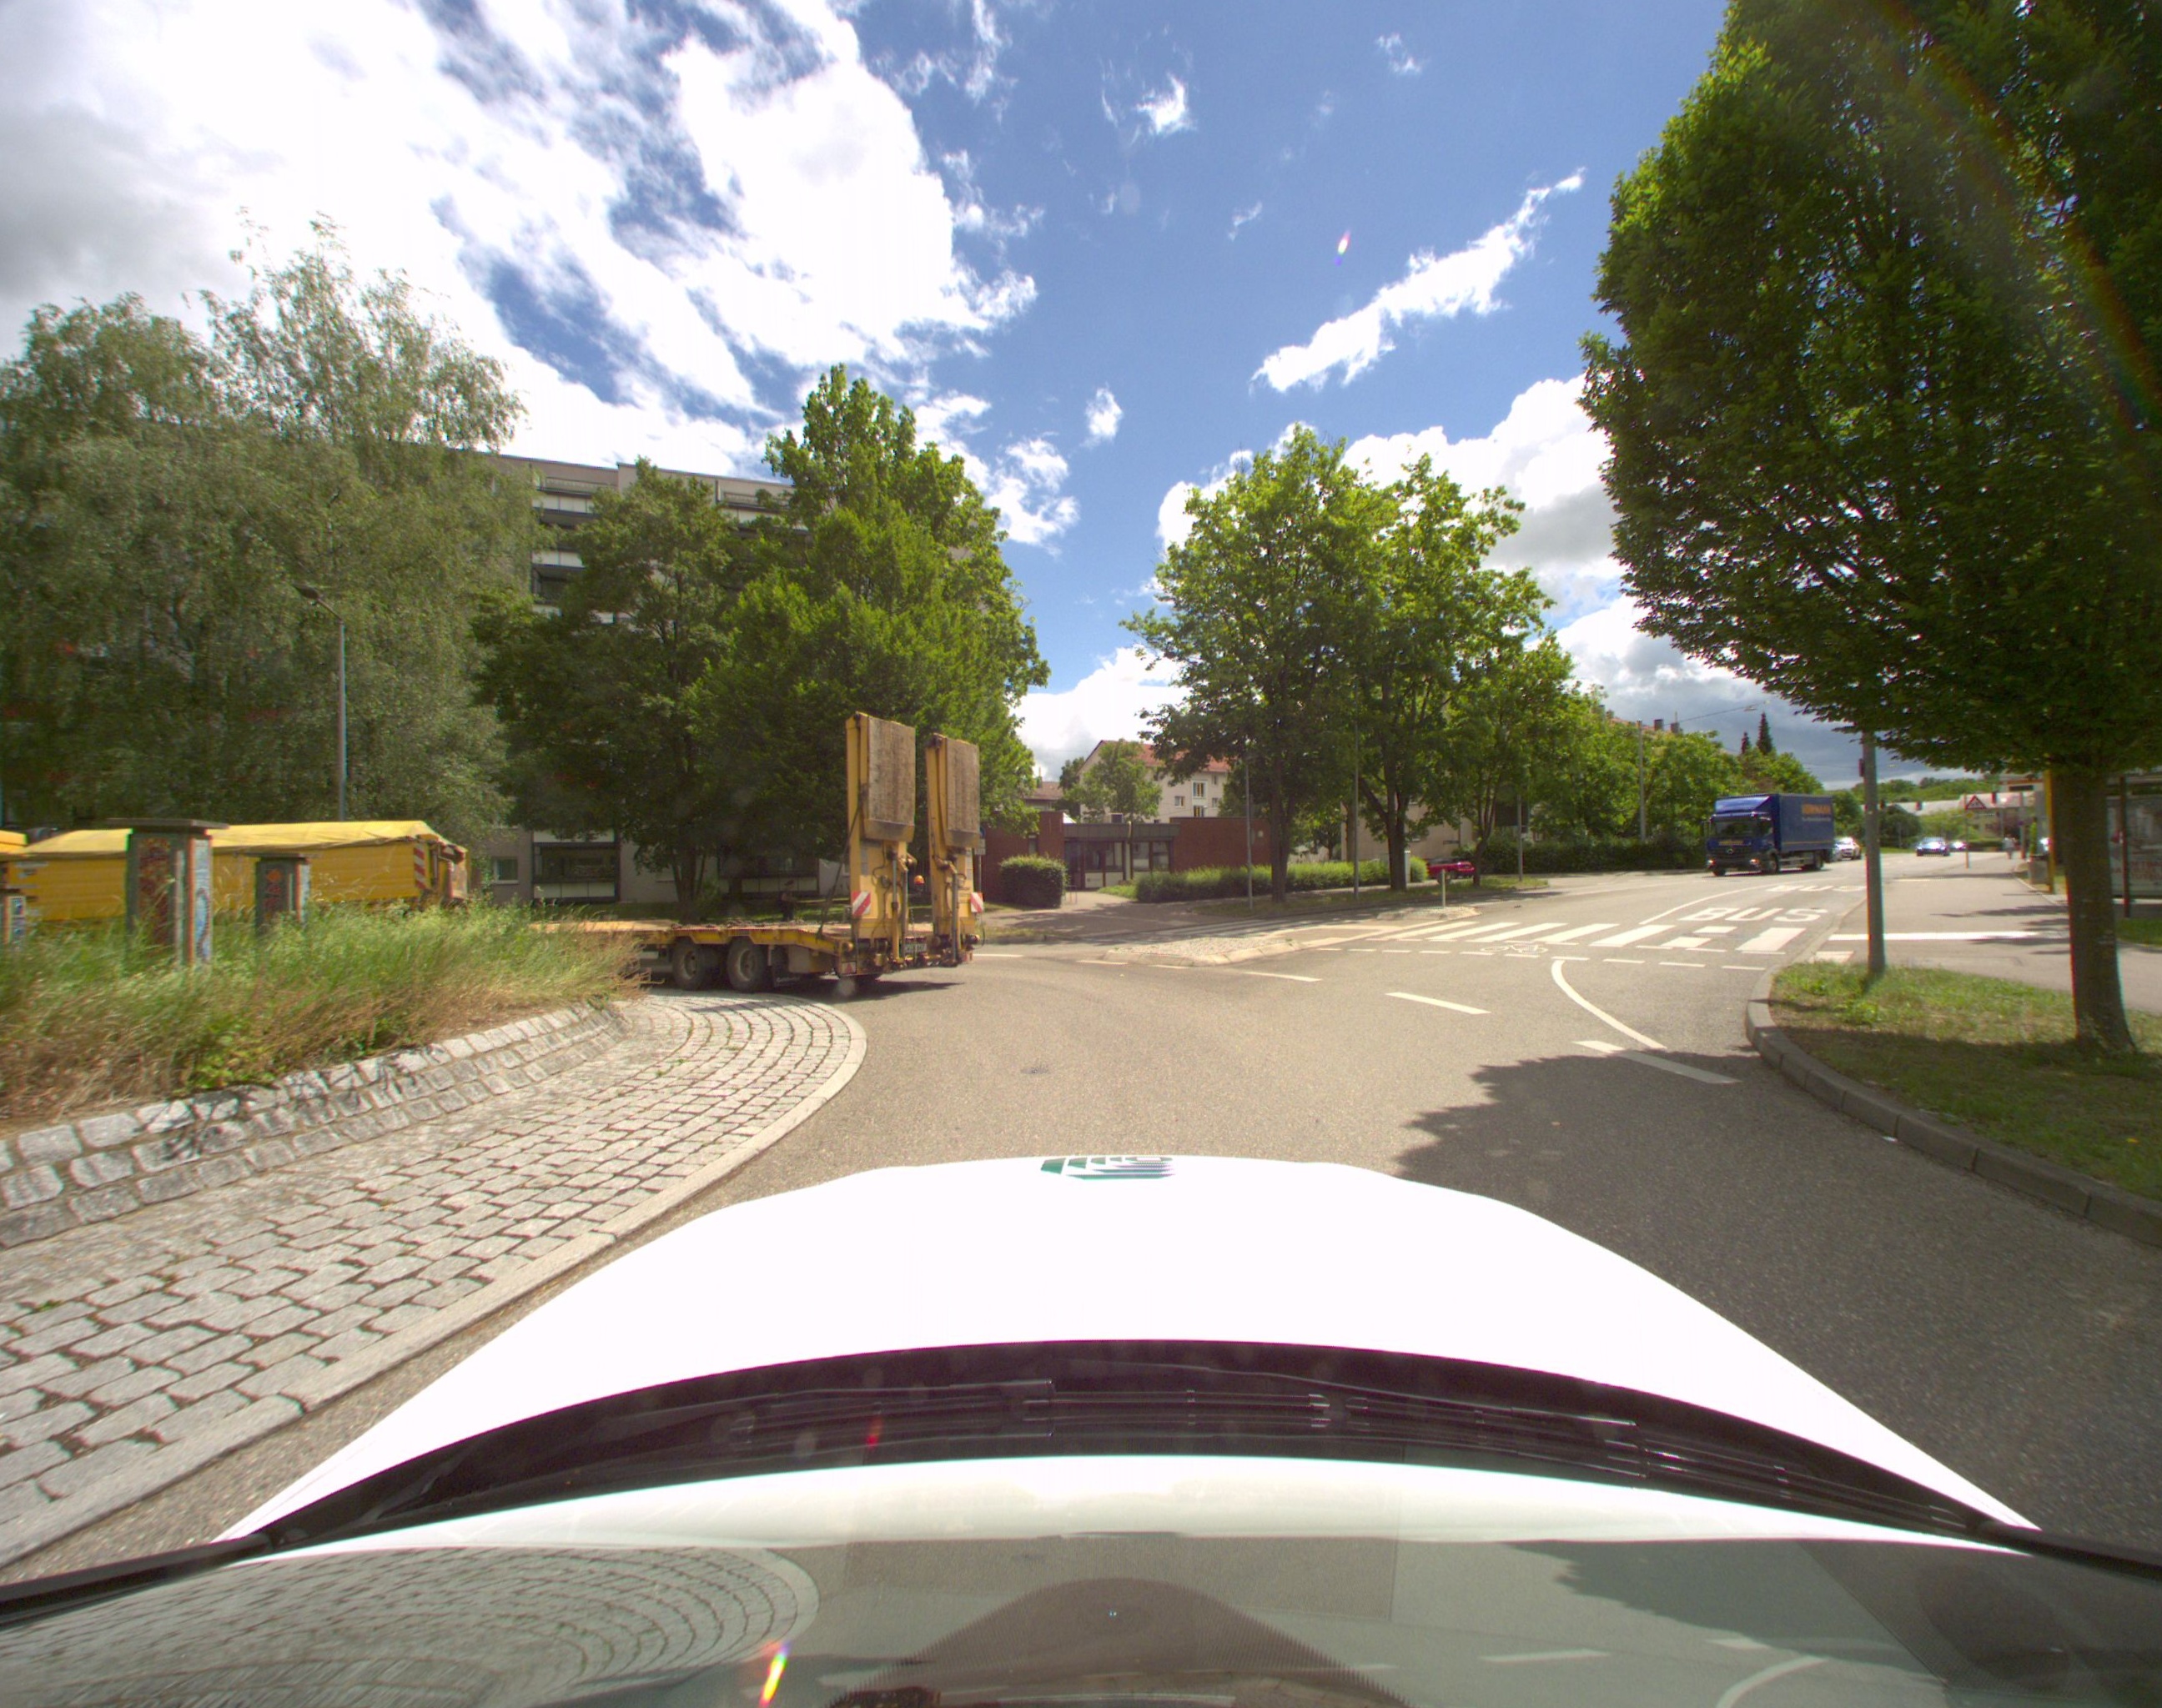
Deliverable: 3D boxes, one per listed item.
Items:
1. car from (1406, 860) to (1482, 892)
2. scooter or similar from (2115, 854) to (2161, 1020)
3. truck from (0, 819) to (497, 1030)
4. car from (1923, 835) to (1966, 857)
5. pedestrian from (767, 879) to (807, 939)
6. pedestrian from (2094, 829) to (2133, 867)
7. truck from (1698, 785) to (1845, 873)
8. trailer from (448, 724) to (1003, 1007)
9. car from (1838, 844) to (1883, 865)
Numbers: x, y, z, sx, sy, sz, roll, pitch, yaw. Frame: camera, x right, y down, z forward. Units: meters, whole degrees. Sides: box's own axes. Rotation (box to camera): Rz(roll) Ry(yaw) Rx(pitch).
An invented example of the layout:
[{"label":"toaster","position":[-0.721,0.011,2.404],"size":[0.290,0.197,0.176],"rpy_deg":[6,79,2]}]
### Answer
[{"label":"car","position":[23.154,1.352,52.062],"size":[2.026,1.941,3.958],"rpy_deg":[0,-1,-33]},{"label":"scooter or similar","position":[8.935,0.688,6.290],"size":[0.480,1.343,1.395],"rpy_deg":[-2,1,20]},{"label":"truck","position":[-15.259,1.020,13.600],"size":[8.503,3.035,2.971],"rpy_deg":[-1,-1,-27]},{"label":"car","position":[73.777,-0.638,69.580],"size":[4.016,1.781,1.979],"rpy_deg":[0,-1,-35]},{"label":"pedestrian","position":[-8.262,1.540,22.876],"size":[0.843,1.579,0.714],"rpy_deg":[-4,0,-28]},{"label":"pedestrian","position":[43.948,-0.251,34.670],"size":[0.662,1.581,0.895],"rpy_deg":[-2,0,-29]},{"label":"truck","position":[35.847,-1.197,42.141],"size":[9.830,4.153,2.762],"rpy_deg":[-1,-1,-31]},{"label":"trailer","position":[-6.501,0.114,13.696],"size":[10.701,3.372,2.891],"rpy_deg":[0,0,31]},{"label":"car","position":[59.987,0.080,62.672],"size":[4.019,1.553,1.977],"rpy_deg":[0,-1,-38]}]
